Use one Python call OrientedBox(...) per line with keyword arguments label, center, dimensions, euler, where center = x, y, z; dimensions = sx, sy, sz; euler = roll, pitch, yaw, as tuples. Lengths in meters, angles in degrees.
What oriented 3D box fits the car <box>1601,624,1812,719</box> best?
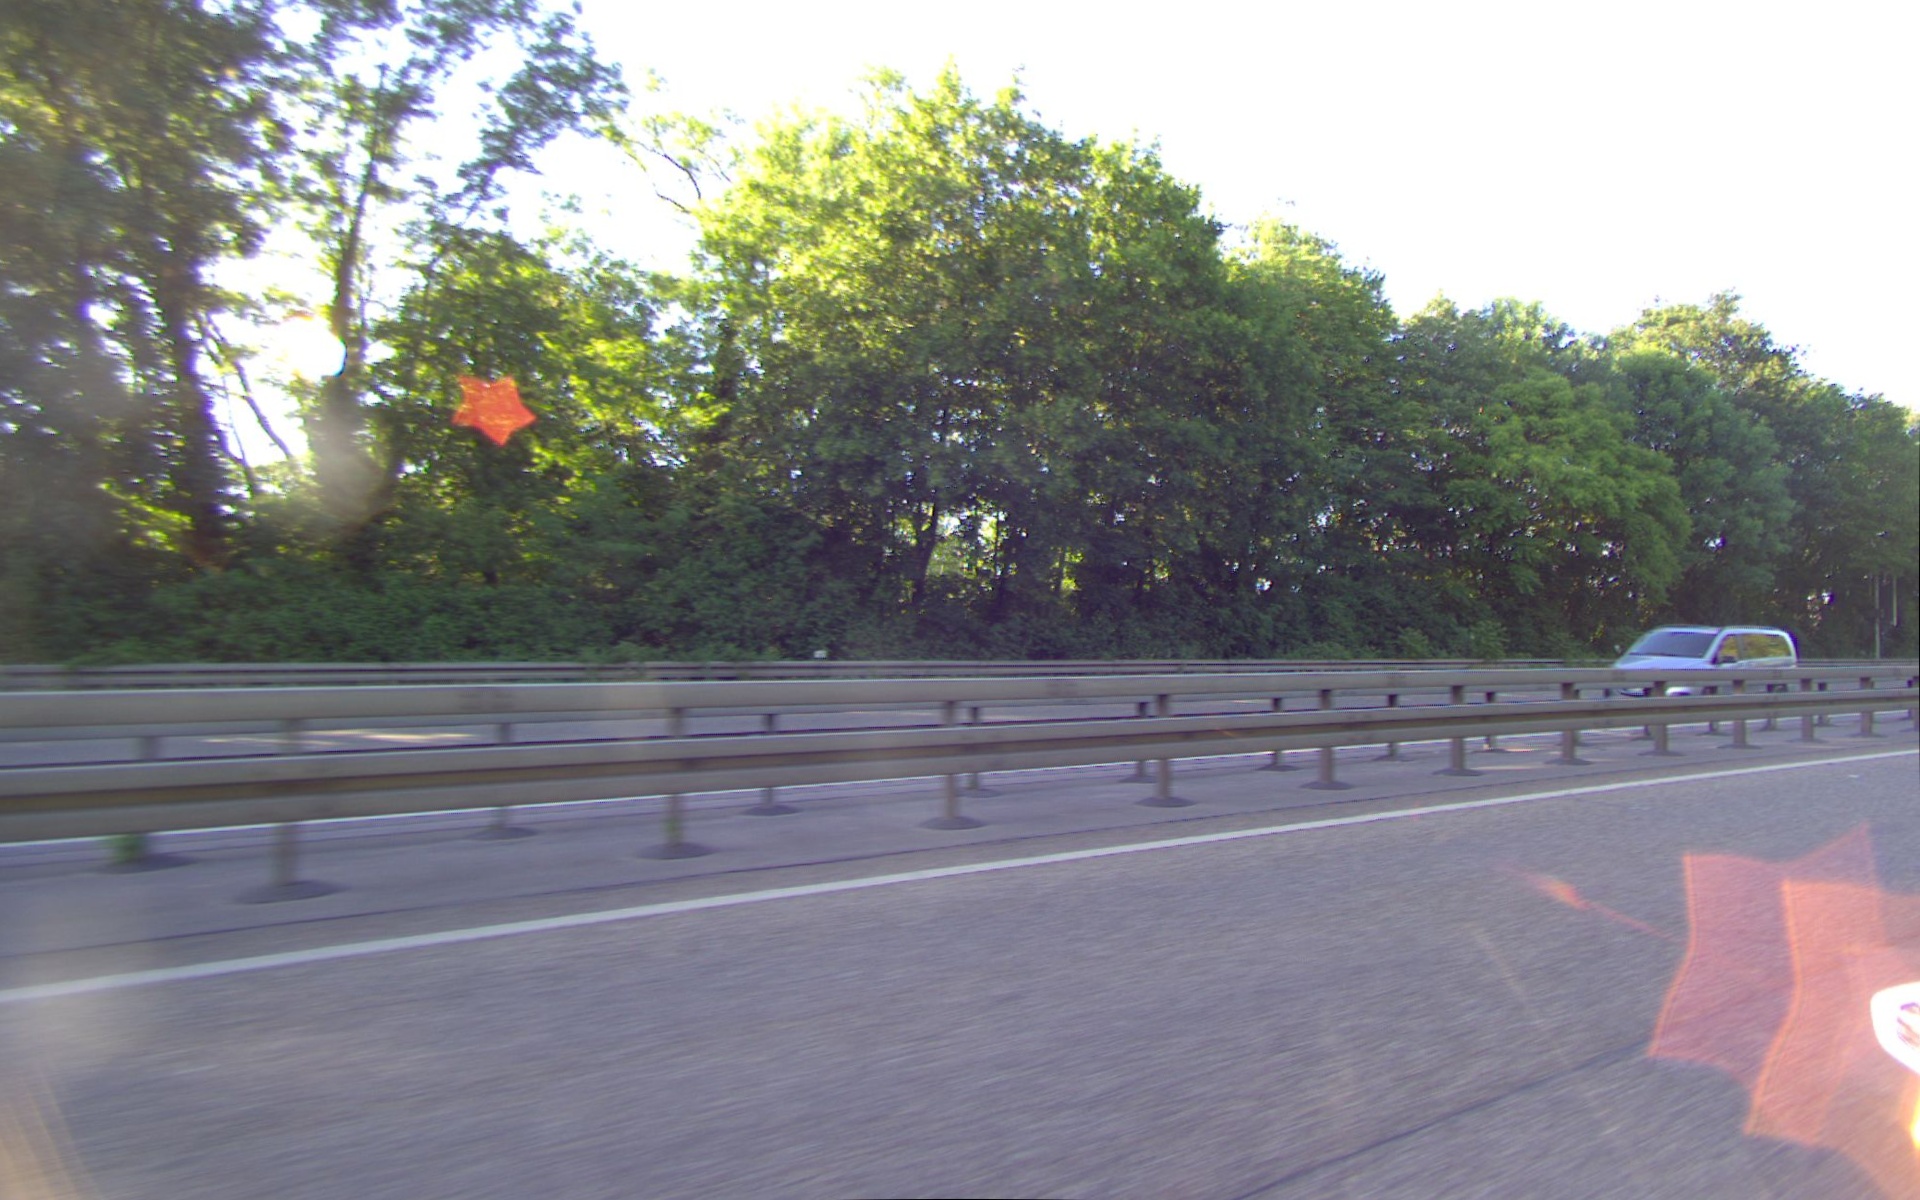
OrientedBox(label="car", center=(16.854, 1.556, 22.604), dimensions=(5.353, 1.928, 1.879), euler=(2, -3, -31))
